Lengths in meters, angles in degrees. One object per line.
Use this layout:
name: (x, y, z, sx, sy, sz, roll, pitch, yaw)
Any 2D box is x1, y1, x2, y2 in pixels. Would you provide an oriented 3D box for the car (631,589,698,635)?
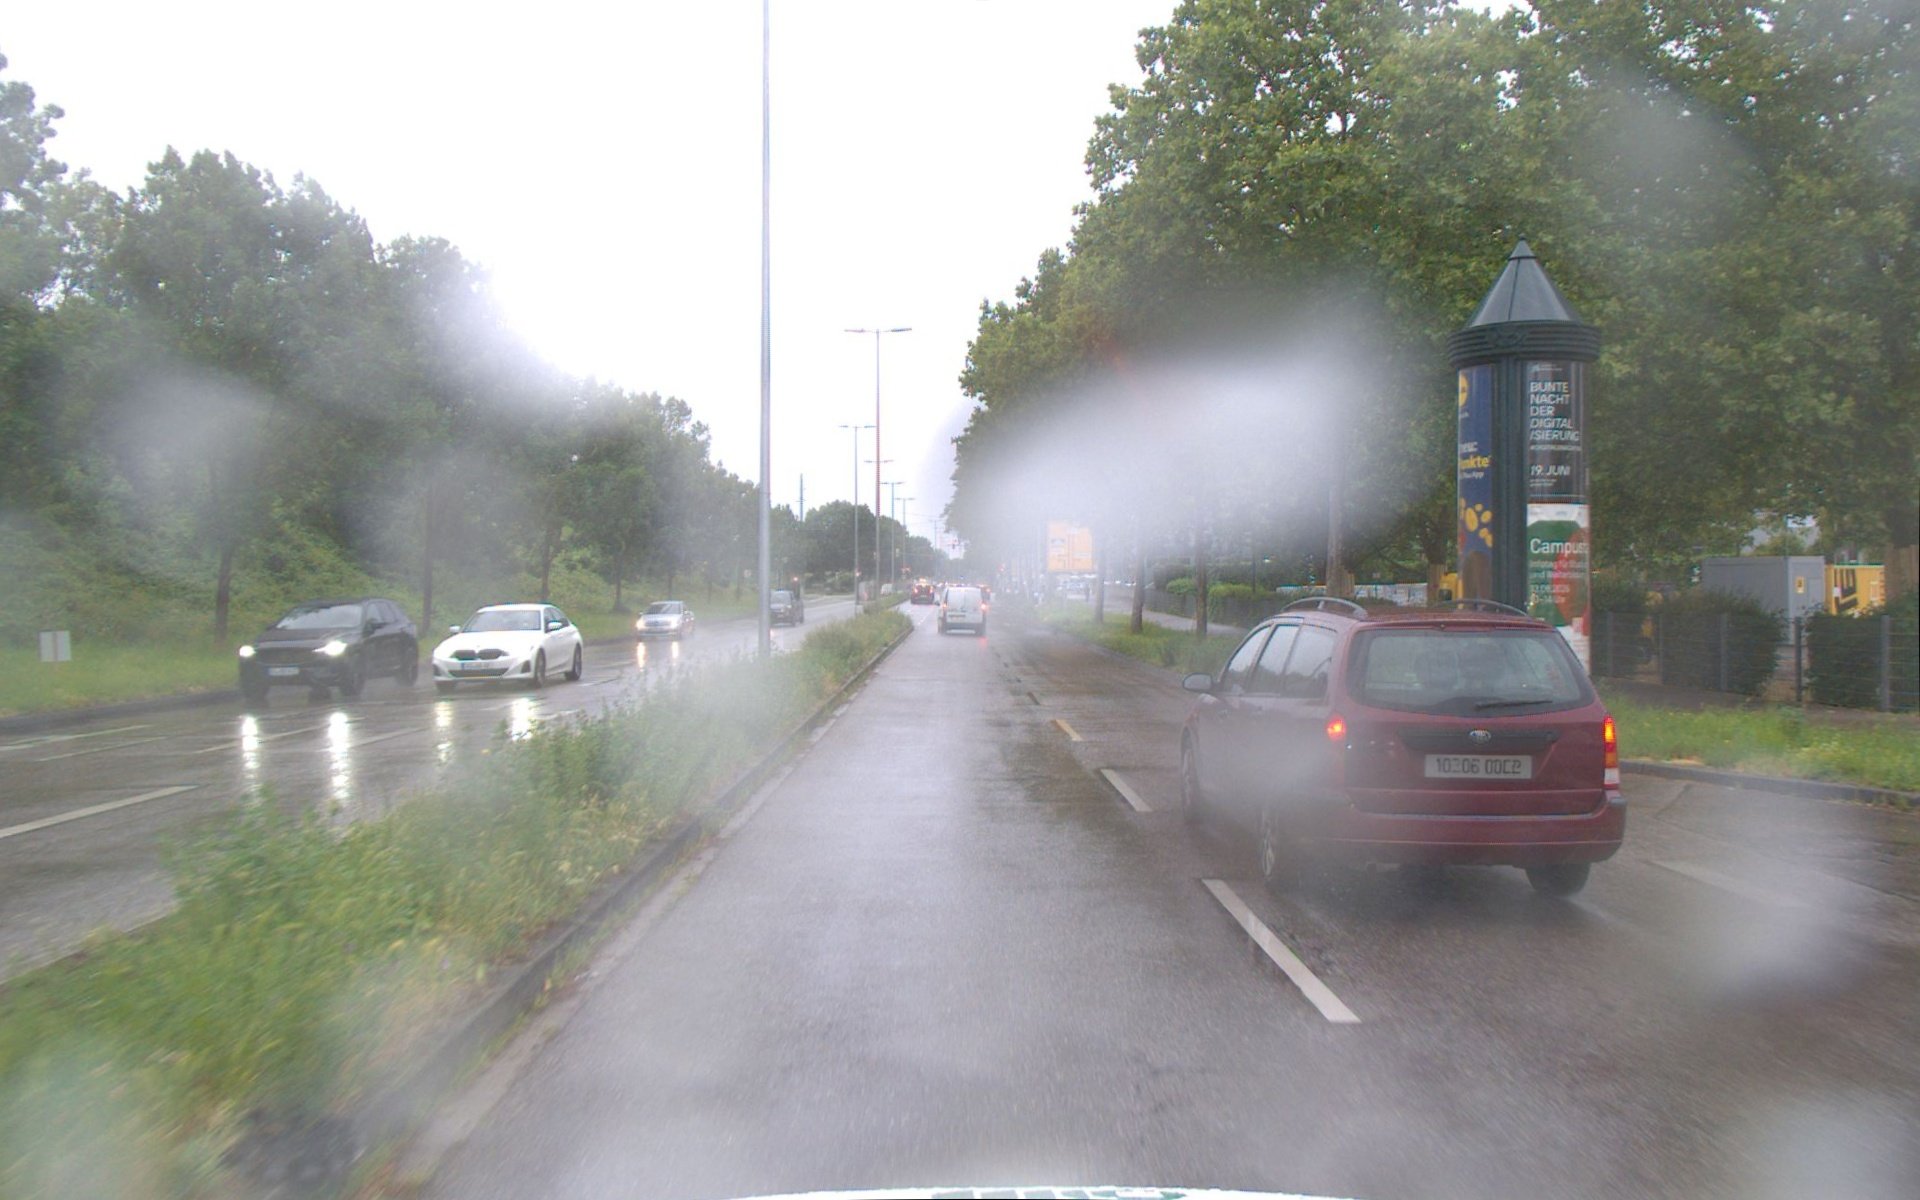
car: (-11.224, 0.435, 63.106, 1.860, 1.641, 4.476, -1, 0, -2)

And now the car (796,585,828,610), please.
car: (-11.237, -0.210, 125.605, 1.953, 1.717, 4.709, -2, 1, 0)

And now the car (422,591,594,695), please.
car: (-8.127, 0.711, 30.200, 1.860, 1.641, 4.711, -2, 0, -1)

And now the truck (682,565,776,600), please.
truck: (-24.687, -1.829, 177.442, 10.033, 3.512, 2.623, 1, -1, -38)

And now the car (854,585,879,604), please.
car: (-8.420, -0.523, 149.424, 1.870, 1.601, 4.709, -3, 1, 0)

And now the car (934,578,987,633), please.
car: (-0.005, 0.231, 64.803, 1.953, 2.049, 3.998, 1, -1, -2)

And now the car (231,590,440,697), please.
car: (-10.893, 0.692, 29.249, 1.996, 1.689, 4.677, -1, 0, -1)

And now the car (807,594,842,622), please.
car: (-8.280, 0.499, 101.656, 1.860, 1.641, 4.111, -1, 0, -1)

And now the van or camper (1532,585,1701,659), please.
van or camper: (17.921, 0.598, 45.267, 3.909, 1.940, 1.800, 1, 1, -5)

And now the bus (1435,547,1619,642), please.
bus: (16.573, -0.162, 48.508, 4.694, 2.693, 2.000, 0, 0, 0)

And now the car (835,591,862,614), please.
car: (-8.386, 0.163, 123.607, 1.871, 1.601, 4.704, -2, 1, -5)

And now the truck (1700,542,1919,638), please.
truck: (29.618, -0.258, 57.443, 9.397, 3.085, 3.042, 1, -1, -37)

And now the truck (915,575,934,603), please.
truck: (-3.240, -1.015, 151.636, 1.721, 2.509, 3.999, 1, 0, -2)

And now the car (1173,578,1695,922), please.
car: (2.463, 0.682, 9.711, 1.802, 1.563, 4.111, 1, 0, -1)

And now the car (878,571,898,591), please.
car: (-7.826, -2.087, 181.134, 1.788, 1.599, 4.364, 7, 6, 0)

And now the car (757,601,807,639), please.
car: (-8.469, 0.943, 78.961, 1.859, 1.641, 4.112, -3, 0, 1)
